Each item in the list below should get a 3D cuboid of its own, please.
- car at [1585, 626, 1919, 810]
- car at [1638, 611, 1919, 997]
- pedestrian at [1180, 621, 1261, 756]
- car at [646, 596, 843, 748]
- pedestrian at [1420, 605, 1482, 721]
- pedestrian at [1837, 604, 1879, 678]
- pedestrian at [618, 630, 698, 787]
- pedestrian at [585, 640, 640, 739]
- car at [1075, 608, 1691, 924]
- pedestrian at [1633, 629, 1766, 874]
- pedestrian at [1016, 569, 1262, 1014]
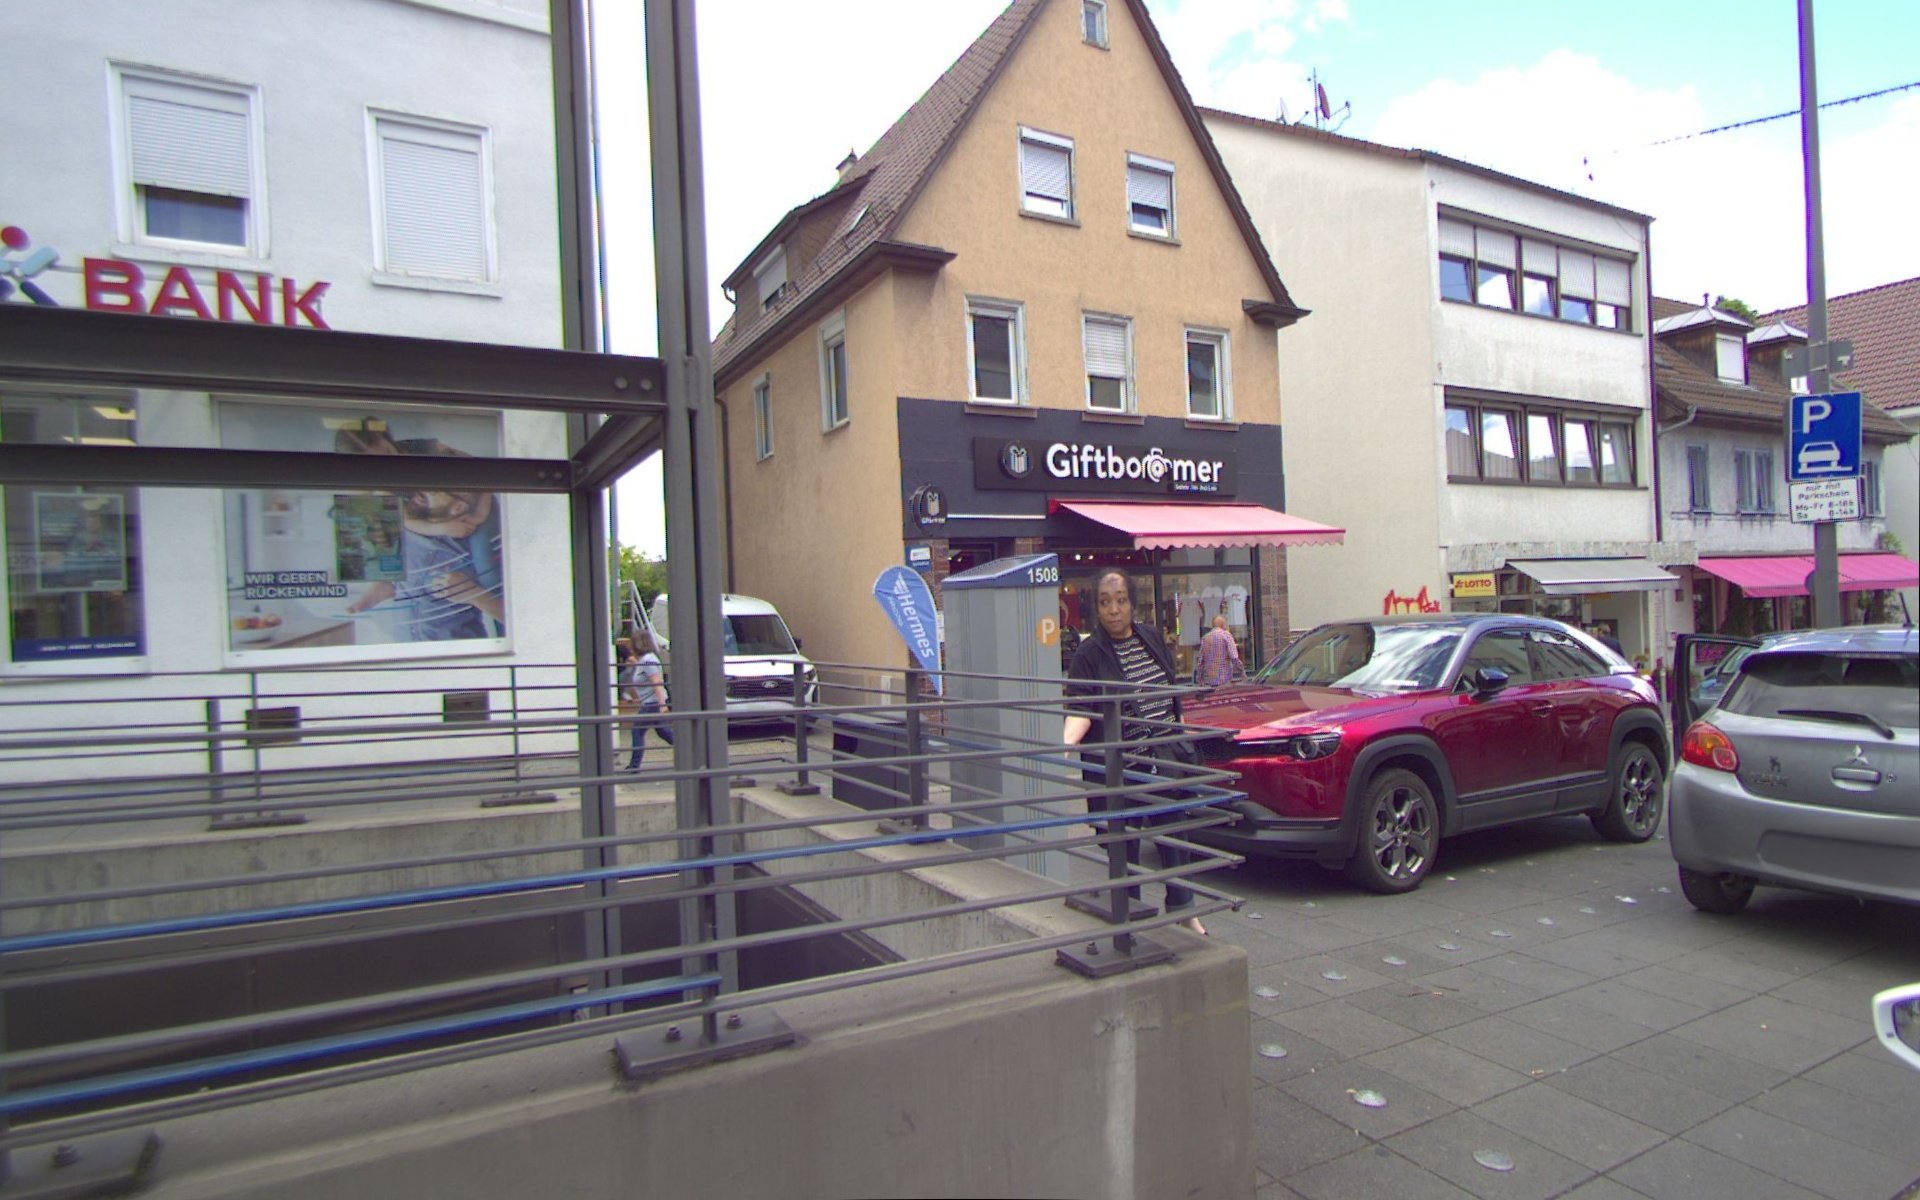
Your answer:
[{"bbox_3d":[8.238,1.043,10.141,3.839,1.495,1.730,1,0,-31],"label":"car"},{"bbox_3d":[5.329,0.863,5.217,3.628,1.553,1.612,1,0,-31],"label":"car"},{"bbox_3d":[3.442,1.136,13.279,0.817,1.711,0.636,1,-1,-28],"label":"pedestrian"},{"bbox_3d":[-3.346,0.911,14.999,1.859,1.898,4.054,0,1,-28],"label":"car"},{"bbox_3d":[7.439,0.946,15.253,0.653,1.711,0.646,-1,-1,10],"label":"pedestrian"},{"bbox_3d":[21.147,0.954,23.656,0.570,1.711,0.575,1,0,-31],"label":"pedestrian"},{"bbox_3d":[-3.214,1.127,10.669,0.708,1.594,0.562,1,-3,-30],"label":"pedestrian"},{"bbox_3d":[-4.935,1.244,14.254,0.600,1.336,0.622,1,0,-31],"label":"pedestrian"},{"bbox_3d":[2.958,0.894,6.808,4.145,1.563,1.731,1,-3,-31],"label":"car"},{"bbox_3d":[4.642,0.915,6.312,0.486,1.450,0.464,1,-3,-30],"label":"pedestrian"},{"bbox_3d":[0.758,0.735,4.276,0.889,1.694,0.531,0,-1,-28],"label":"pedestrian"}]
